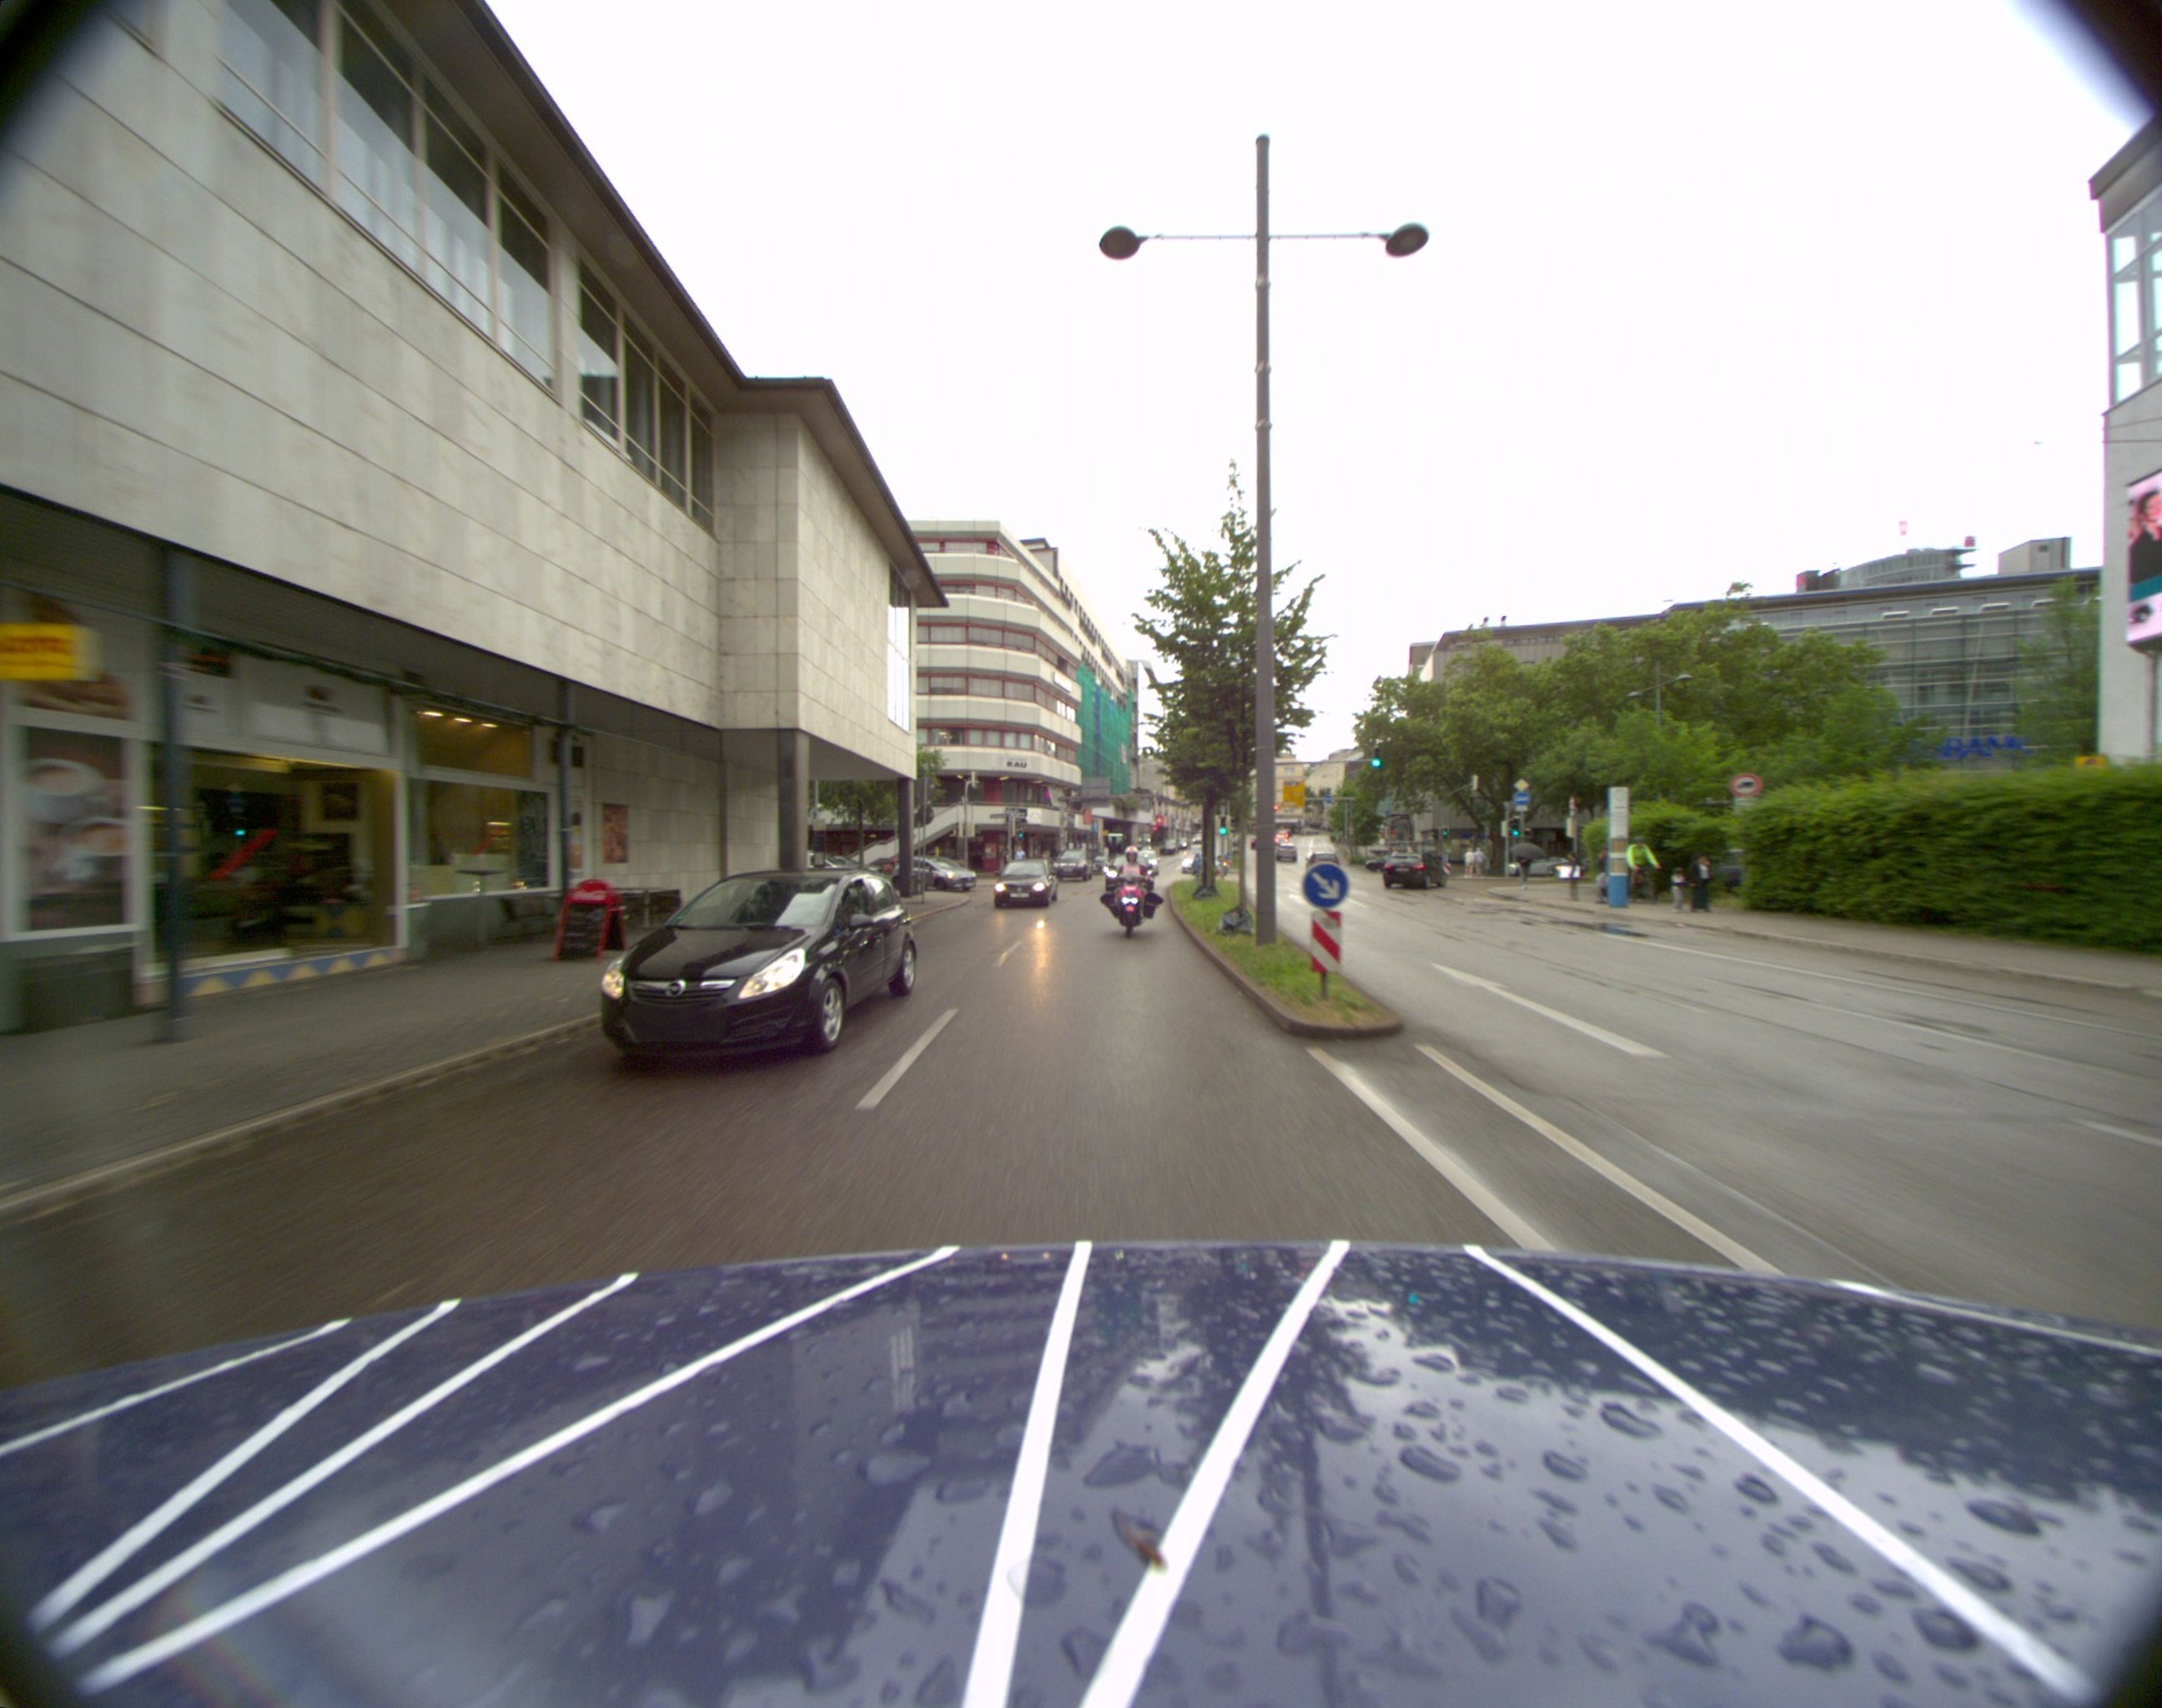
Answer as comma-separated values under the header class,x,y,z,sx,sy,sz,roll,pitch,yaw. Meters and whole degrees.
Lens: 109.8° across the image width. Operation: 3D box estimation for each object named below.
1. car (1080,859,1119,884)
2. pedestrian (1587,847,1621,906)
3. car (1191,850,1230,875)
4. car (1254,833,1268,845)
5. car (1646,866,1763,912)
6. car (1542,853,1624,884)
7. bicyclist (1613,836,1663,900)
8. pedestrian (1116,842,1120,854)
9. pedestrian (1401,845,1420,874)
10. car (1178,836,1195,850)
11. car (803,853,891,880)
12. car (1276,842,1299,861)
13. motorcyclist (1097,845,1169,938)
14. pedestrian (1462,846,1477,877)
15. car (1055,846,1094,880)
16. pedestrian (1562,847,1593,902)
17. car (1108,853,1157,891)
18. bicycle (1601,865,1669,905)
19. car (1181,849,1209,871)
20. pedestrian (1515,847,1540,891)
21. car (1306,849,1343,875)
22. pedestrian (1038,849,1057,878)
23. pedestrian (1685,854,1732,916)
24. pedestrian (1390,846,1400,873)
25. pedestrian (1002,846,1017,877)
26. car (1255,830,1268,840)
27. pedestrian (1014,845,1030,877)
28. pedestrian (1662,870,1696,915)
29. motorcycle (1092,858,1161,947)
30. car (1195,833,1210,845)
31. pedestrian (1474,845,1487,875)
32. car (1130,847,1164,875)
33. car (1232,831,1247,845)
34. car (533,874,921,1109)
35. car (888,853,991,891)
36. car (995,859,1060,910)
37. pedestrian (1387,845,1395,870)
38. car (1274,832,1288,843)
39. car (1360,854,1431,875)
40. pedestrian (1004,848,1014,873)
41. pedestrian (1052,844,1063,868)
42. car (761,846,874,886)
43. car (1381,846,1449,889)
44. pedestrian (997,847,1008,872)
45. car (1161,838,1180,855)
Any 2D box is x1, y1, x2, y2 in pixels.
class,x,y,z,sx,sy,sz,roll,pitch,yaw
car,1.303,1.179,51.922,1.680,1.422,3.779,-1,3,17
pedestrian,15.654,0.658,22.756,0.592,1.754,0.644,0,1,2
car,8.059,0.499,47.646,1.700,1.465,3.689,0,0,-2
car,23.411,-1.981,98.943,1.625,1.546,3.662,1,1,11
car,22.450,1.205,27.523,1.598,1.530,3.602,0,0,7
car,28.960,0.826,43.911,3.595,1.686,1.639,1,0,12
bicyclist,16.554,0.410,22.614,0.793,1.879,0.954,0,1,3
pedestrian,4.529,-0.769,92.995,0.429,1.481,0.523,0,4,-9
pedestrian,22.076,0.376,50.968,0.861,1.895,0.826,-1,1,-12
car,14.201,-1.479,102.195,1.830,1.727,4.002,1,4,14
car,-12.815,0.686,41.834,4.270,1.412,1.787,0,1,0
car,20.009,-0.298,73.863,1.830,1.726,4.313,1,1,11
motorcyclist,1.035,0.706,14.958,1.295,1.757,0.846,0,1,13
pedestrian,22.391,0.427,43.809,0.527,1.754,0.593,-3,2,11
car,-0.289,0.453,40.095,1.735,1.669,4.249,-1,0,3
pedestrian,15.904,0.651,24.343,0.630,1.754,0.528,0,1,-1
car,2.261,0.730,32.617,1.937,1.511,4.470,0,0,5
bicycle,16.568,0.913,22.771,0.652,1.104,2.058,0,1,4
car,8.029,0.400,53.196,1.768,1.401,4.002,-1,2,10
pedestrian,17.949,0.592,30.576,0.648,1.755,0.592,0,4,8
car,15.370,0.470,48.183,1.760,1.412,4.100,2,2,12
pedestrian,-2.220,0.629,50.543,0.897,1.770,0.806,5,5,16
pedestrian,15.947,0.777,19.310,0.716,1.550,0.565,0,0,3
pedestrian,21.803,0.406,52.710,0.447,1.827,0.676,0,4,8
pedestrian,-4.172,0.433,44.236,0.623,1.764,0.678,0,3,19
car,28.049,-2.922,118.011,1.716,1.470,3.960,2,2,12
pedestrian,-3.408,0.402,44.165,0.623,1.837,0.848,0,3,19
pedestrian,15.500,0.990,19.699,0.469,1.144,0.502,0,0,4
motorcycle,0.945,0.860,14.656,0.831,1.479,2.868,-1,1,13
car,19.098,-2.434,119.338,1.830,1.727,4.002,1,4,14
pedestrian,23.046,0.341,43.823,0.527,1.754,0.593,0,1,11
car,4.275,0.450,48.766,1.630,1.731,3.604,1,0,13
car,22.262,-2.276,106.602,1.830,1.727,4.002,1,4,14
car,-2.797,0.984,7.024,1.712,1.448,3.742,-1,0,2
car,-6.041,0.743,32.428,3.989,1.468,2.004,0,1,31
car,-1.607,0.891,23.826,1.595,1.432,3.628,0,0,3
pedestrian,21.929,0.245,53.764,0.412,1.753,0.677,0,0,11
car,28.188,-2.364,107.194,1.674,1.507,3.646,2,1,12
car,23.357,0.755,56.537,1.937,1.388,4.412,-1,3,-45
pedestrian,-5.169,0.452,54.680,0.596,1.753,0.493,0,3,13
pedestrian,-1.818,0.169,59.400,0.733,1.885,0.677,0,3,12
car,-12.285,0.534,35.628,4.604,1.749,1.856,0,2,3
car,14.646,0.564,33.205,1.827,1.726,4.268,3,1,35
pedestrian,-5.628,0.375,54.484,0.528,1.753,0.510,-3,3,-30
car,10.771,-0.924,91.261,1.830,1.727,4.002,1,4,14
